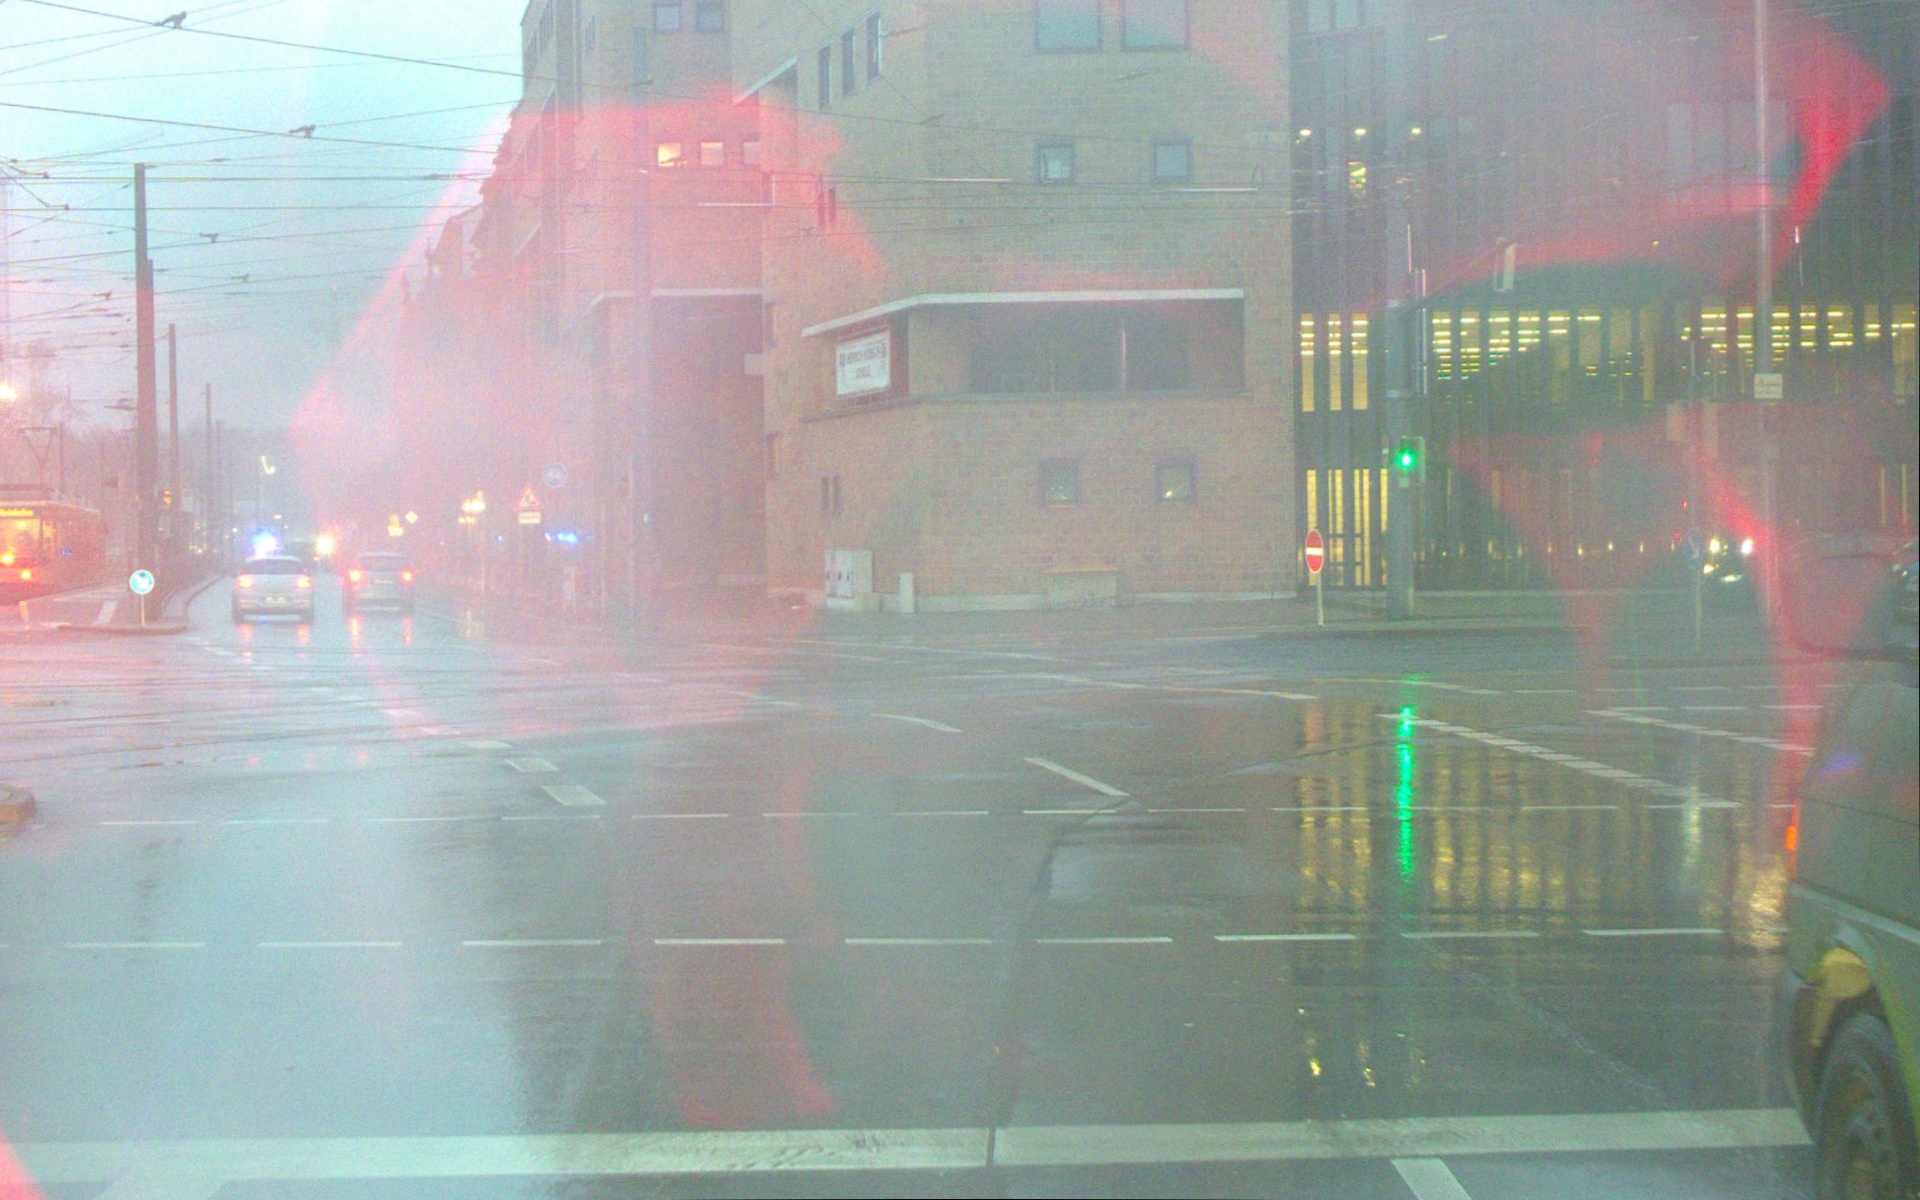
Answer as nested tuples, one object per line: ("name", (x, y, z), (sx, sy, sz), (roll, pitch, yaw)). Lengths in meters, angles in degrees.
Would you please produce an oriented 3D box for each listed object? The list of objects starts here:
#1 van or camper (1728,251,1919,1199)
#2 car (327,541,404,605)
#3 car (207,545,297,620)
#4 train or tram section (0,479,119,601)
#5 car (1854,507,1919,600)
("van or camper", (2.429, 0.420, 4.538), (1.757, 1.900, 4.419), (1, 1, -1))
("car", (-15.512, -0.718, 89.773), (1.870, 1.573, 4.001), (1, 1, -9))
("car", (-15.845, -0.413, 77.080), (1.870, 1.573, 4.001), (1, 1, -11))
("train or tram section", (-29.602, -1.902, 110.953), (3.190, 3.424, 27.839), (-1, 1, -11))
("car", (15.864, -0.745, 52.262), (3.986, 1.258, 1.848), (-1, 5, -6))
